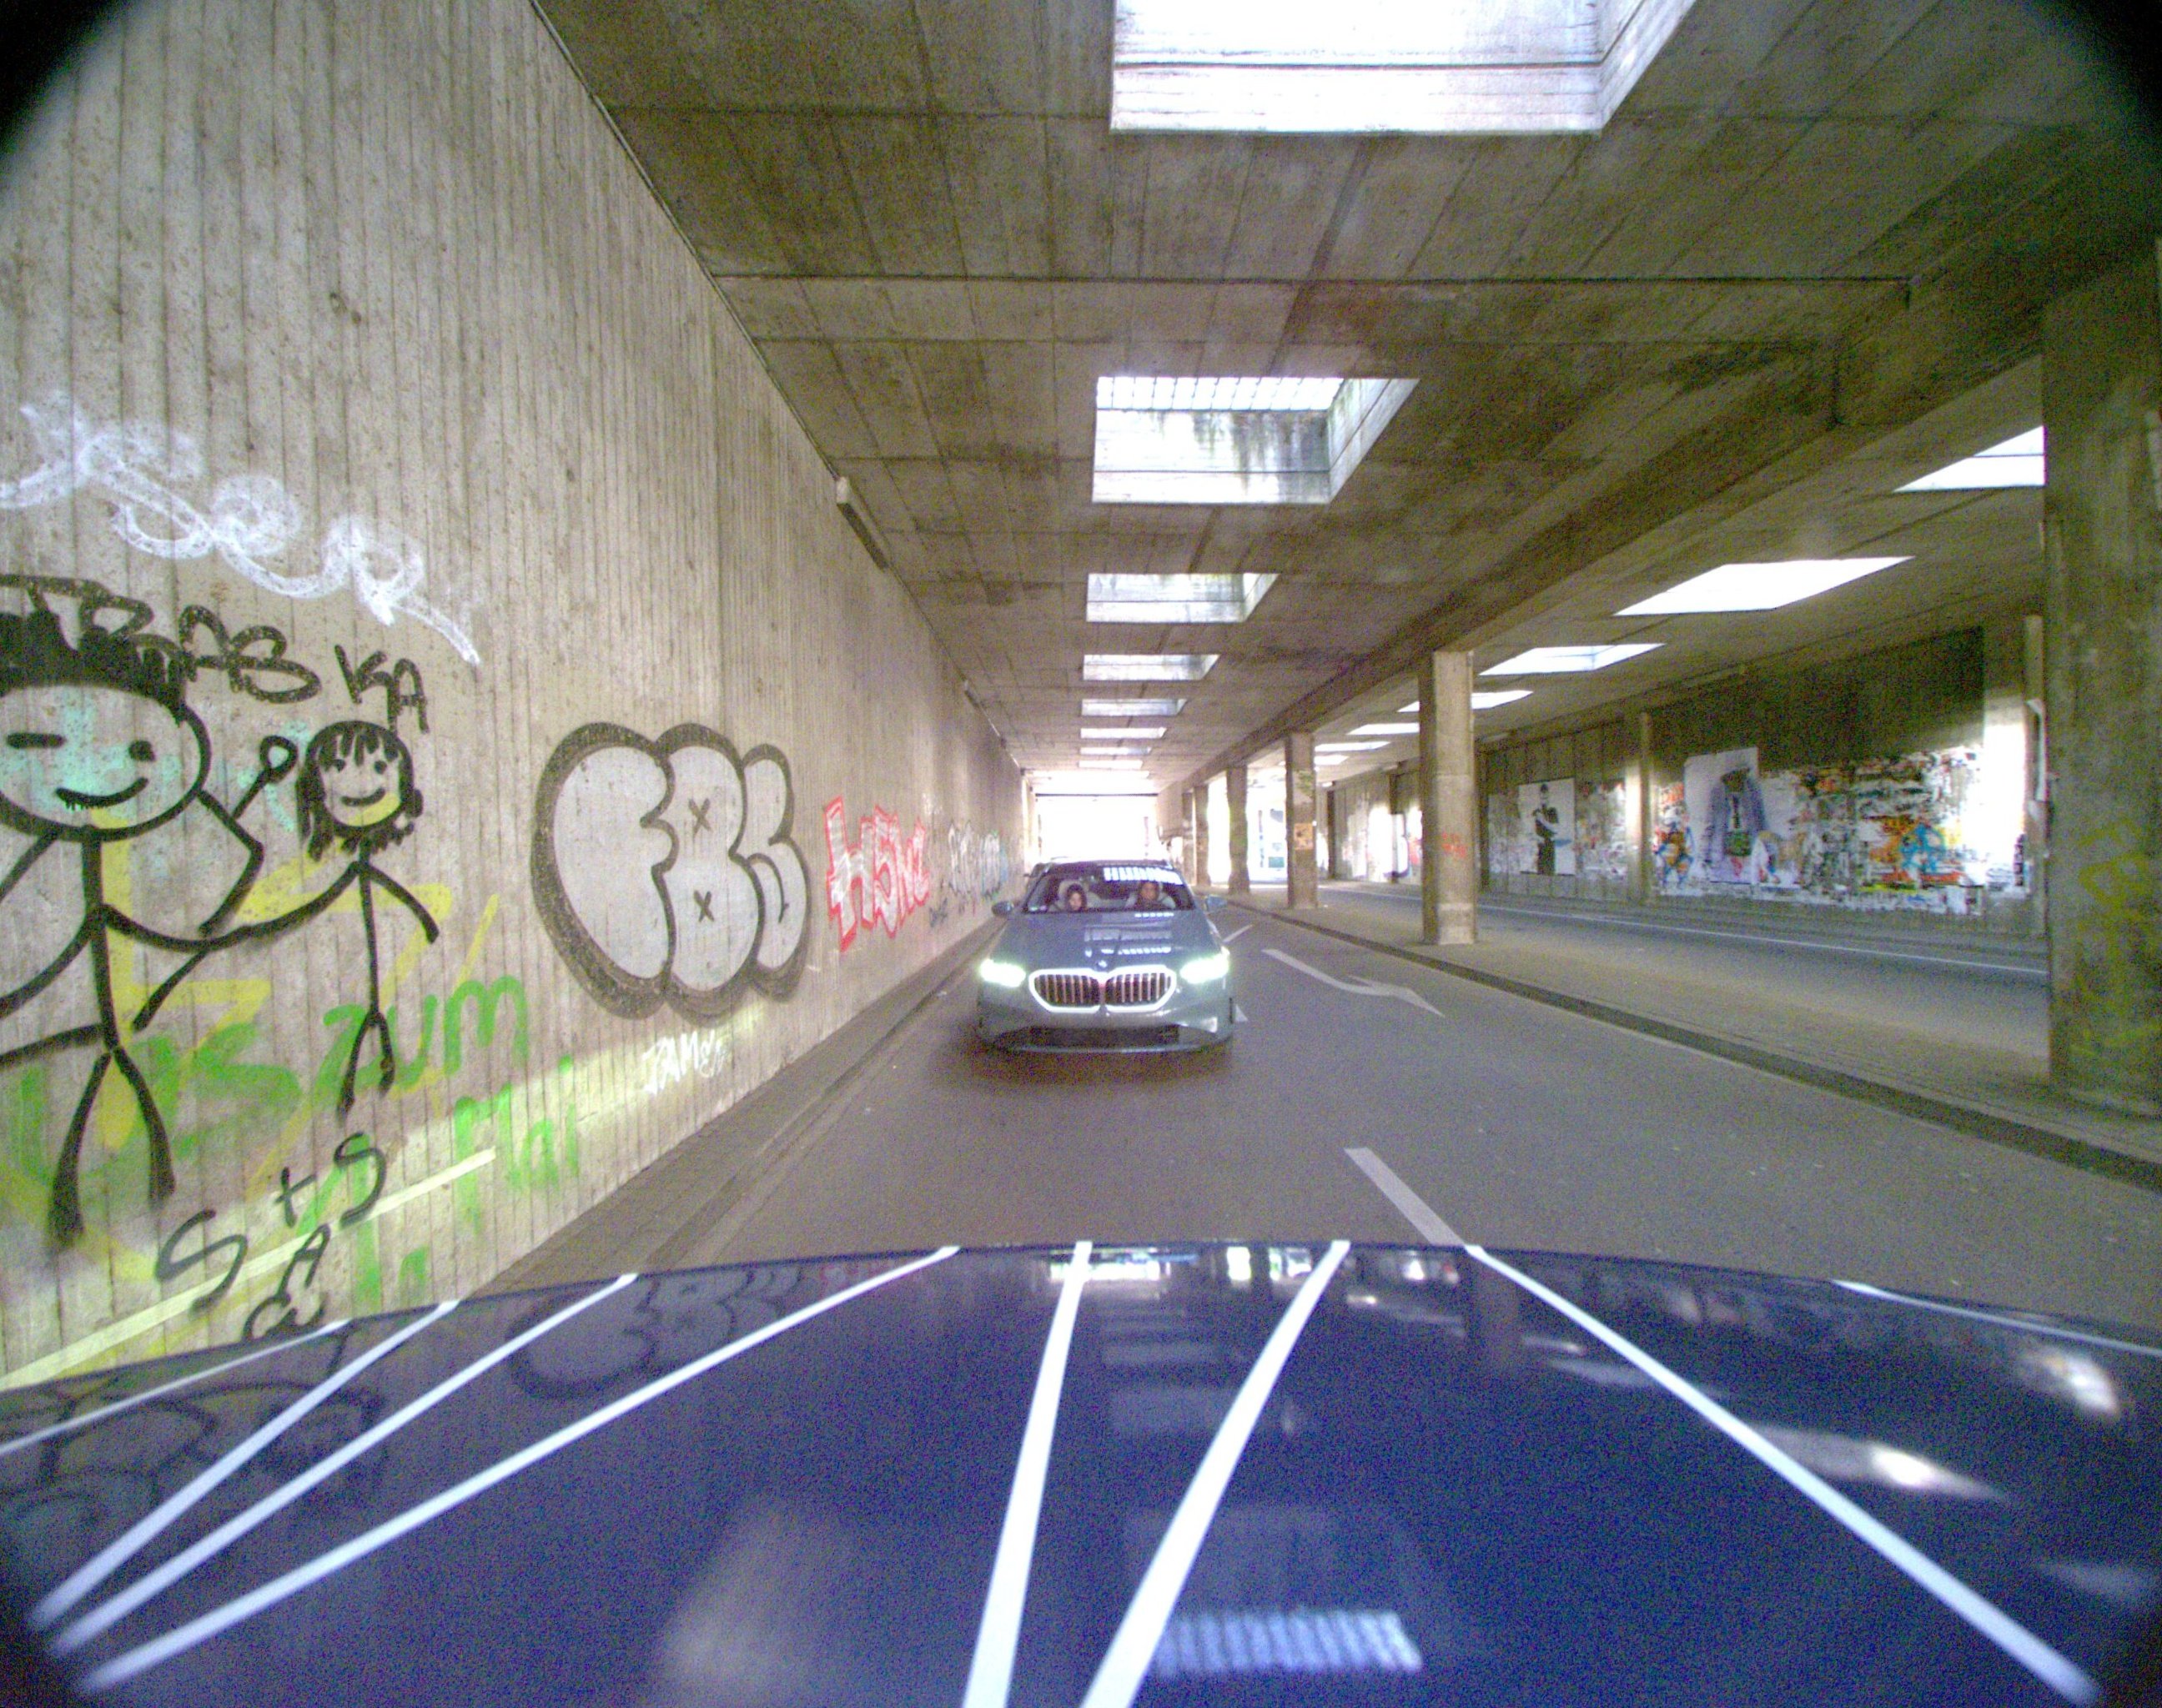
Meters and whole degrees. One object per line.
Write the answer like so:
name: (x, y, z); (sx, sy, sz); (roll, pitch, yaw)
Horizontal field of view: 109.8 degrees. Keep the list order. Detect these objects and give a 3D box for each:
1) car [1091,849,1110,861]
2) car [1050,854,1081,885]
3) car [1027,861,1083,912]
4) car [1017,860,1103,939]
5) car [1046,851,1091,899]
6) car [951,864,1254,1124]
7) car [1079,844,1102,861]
car: (2.466, 0.148, 97.970); (1.741, 1.519, 3.786); (-2, 0, -9)
car: (-0.813, 0.814, 41.250); (1.592, 1.562, 3.694); (-2, 0, 0)
car: (-0.766, 0.956, 23.916); (1.592, 1.432, 3.806); (-2, 0, 0)
car: (-0.430, 0.928, 17.290); (1.679, 1.516, 3.969); (-2, 0, 0)
car: (-0.468, 0.779, 29.923); (1.592, 1.711, 3.694); (-2, 0, 0)
car: (0.124, 0.913, 7.281); (1.861, 1.516, 5.042); (-2, 0, 0)
car: (1.269, -0.182, 103.662); (2.161, 2.150, 4.785); (-2, 0, -12)
